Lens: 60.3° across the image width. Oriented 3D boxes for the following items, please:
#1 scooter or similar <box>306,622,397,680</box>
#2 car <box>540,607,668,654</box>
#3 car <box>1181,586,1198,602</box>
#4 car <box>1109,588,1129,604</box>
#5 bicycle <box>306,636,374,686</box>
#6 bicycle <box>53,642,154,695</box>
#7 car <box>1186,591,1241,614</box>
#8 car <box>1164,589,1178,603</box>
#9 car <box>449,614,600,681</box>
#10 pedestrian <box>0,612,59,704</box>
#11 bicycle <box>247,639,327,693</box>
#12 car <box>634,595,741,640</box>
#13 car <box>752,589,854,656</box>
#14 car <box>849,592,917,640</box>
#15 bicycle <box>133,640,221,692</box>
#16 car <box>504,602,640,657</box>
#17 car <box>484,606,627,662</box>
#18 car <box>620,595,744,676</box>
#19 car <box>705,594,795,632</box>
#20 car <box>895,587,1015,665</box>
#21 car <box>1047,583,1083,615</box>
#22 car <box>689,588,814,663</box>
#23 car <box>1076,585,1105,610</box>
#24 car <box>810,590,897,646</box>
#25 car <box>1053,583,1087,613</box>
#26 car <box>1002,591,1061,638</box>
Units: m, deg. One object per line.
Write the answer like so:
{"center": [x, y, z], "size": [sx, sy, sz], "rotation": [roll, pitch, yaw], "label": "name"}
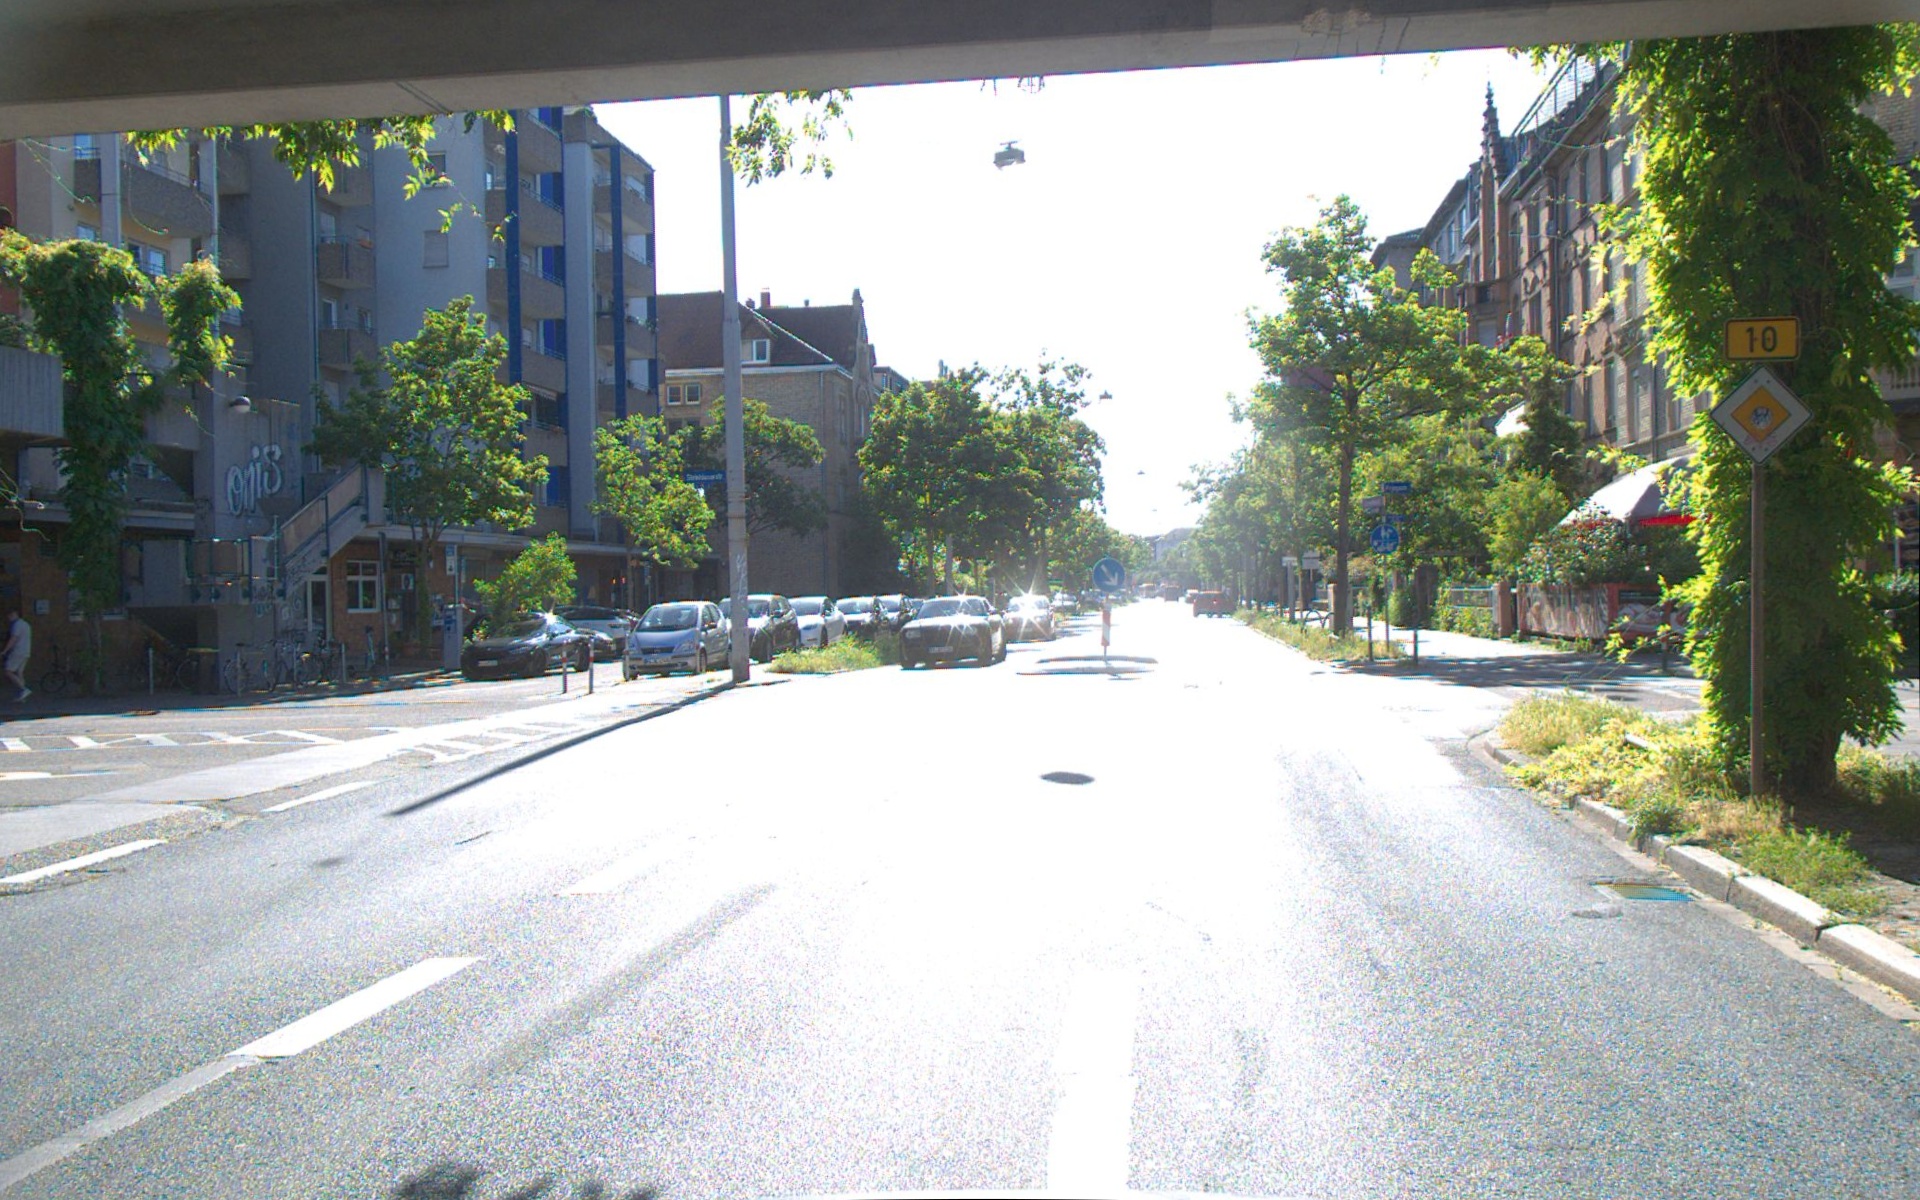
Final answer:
{"center": [-14.663, 1.225, 39.864], "size": [1.926, 1.299, 0.631], "rotation": [-2, 1, 3], "label": "scooter or similar"}
{"center": [-12.084, 1.037, 56.275], "size": [3.903, 1.449, 1.688], "rotation": [-2, 0, 4], "label": "car"}
{"center": [27.278, -0.706, 196.600], "size": [1.909, 1.738, 4.004], "rotation": [-2, 0, 9], "label": "car"}
{"center": [18.222, -0.514, 189.088], "size": [1.951, 1.725, 4.004], "rotation": [-2, 0, 10], "label": "car"}
{"center": [-13.931, 1.348, 37.179], "size": [0.405, 1.018, 1.803], "rotation": [1, 1, 17], "label": "bicycle"}
{"center": [-17.418, 1.394, 33.658], "size": [1.759, 1.018, 0.484], "rotation": [-1, 1, 0], "label": "bicycle"}
{"center": [14.906, 0.121, 97.150], "size": [1.765, 1.244, 3.990], "rotation": [-1, 0, 32], "label": "car"}
{"center": [28.857, -0.577, 226.410], "size": [1.720, 1.815, 4.004], "rotation": [-2, 0, 9], "label": "car"}
{"center": [-10.684, 1.137, 40.922], "size": [1.850, 1.422, 4.533], "rotation": [-2, 0, 10], "label": "car"}
{"center": [-17.910, 1.100, 31.738], "size": [0.739, 1.729, 0.797], "rotation": [1, 0, 7], "label": "pedestrian"}
{"center": [-14.300, 1.385, 35.200], "size": [0.406, 1.049, 1.801], "rotation": [2, 1, 24], "label": "bicycle"}
{"center": [-10.966, 0.685, 66.618], "size": [3.903, 1.658, 1.688], "rotation": [-2, 0, 4], "label": "car"}
{"center": [-4.381, 0.603, 46.885], "size": [1.848, 1.690, 4.534], "rotation": [-4, 0, 7], "label": "car"}
{"center": [-2.736, 0.541, 59.391], "size": [1.714, 1.580, 4.003], "rotation": [-2, 0, 7], "label": "car"}
{"center": [-16.325, 1.372, 34.501], "size": [1.585, 1.018, 0.414], "rotation": [0, 1, -16], "label": "bicycle"}
{"center": [-12.577, 0.948, 53.740], "size": [3.903, 1.635, 1.843], "rotation": [-2, 0, 4], "label": "car"}
{"center": [-12.500, 1.047, 51.234], "size": [3.903, 1.578, 1.771], "rotation": [-2, 0, 4], "label": "car"}
{"center": [-5.847, 0.713, 35.191], "size": [1.683, 1.545, 3.534], "rotation": [-3, 0, 5], "label": "car"}
{"center": [-9.959, 0.602, 78.629], "size": [3.903, 1.658, 1.688], "rotation": [-2, 0, 4], "label": "car"}
{"center": [-0.027, 0.509, 35.232], "size": [1.826, 1.484, 4.597], "rotation": [-2, 0, 8], "label": "car"}
{"center": [7.281, -0.100, 113.864], "size": [1.951, 2.049, 4.209], "rotation": [-2, 0, 10], "label": "car"}
{"center": [-5.049, 0.588, 40.617], "size": [1.828, 1.656, 4.508], "rotation": [-2, 0, 8], "label": "car"}
{"center": [11.131, -0.218, 140.692], "size": [2.017, 2.049, 4.633], "rotation": [-2, 0, 9], "label": "car"}
{"center": [-3.364, 0.539, 53.129], "size": [1.823, 1.615, 4.004], "rotation": [-3, 0, 10], "label": "car"}
{"center": [7.954, -0.132, 119.688], "size": [1.951, 2.049, 4.209], "rotation": [-2, 0, 10], "label": "car"}
{"center": [2.391, 0.449, 54.604], "size": [1.616, 1.453, 3.510], "rotation": [-2, 0, 7], "label": "car"}
